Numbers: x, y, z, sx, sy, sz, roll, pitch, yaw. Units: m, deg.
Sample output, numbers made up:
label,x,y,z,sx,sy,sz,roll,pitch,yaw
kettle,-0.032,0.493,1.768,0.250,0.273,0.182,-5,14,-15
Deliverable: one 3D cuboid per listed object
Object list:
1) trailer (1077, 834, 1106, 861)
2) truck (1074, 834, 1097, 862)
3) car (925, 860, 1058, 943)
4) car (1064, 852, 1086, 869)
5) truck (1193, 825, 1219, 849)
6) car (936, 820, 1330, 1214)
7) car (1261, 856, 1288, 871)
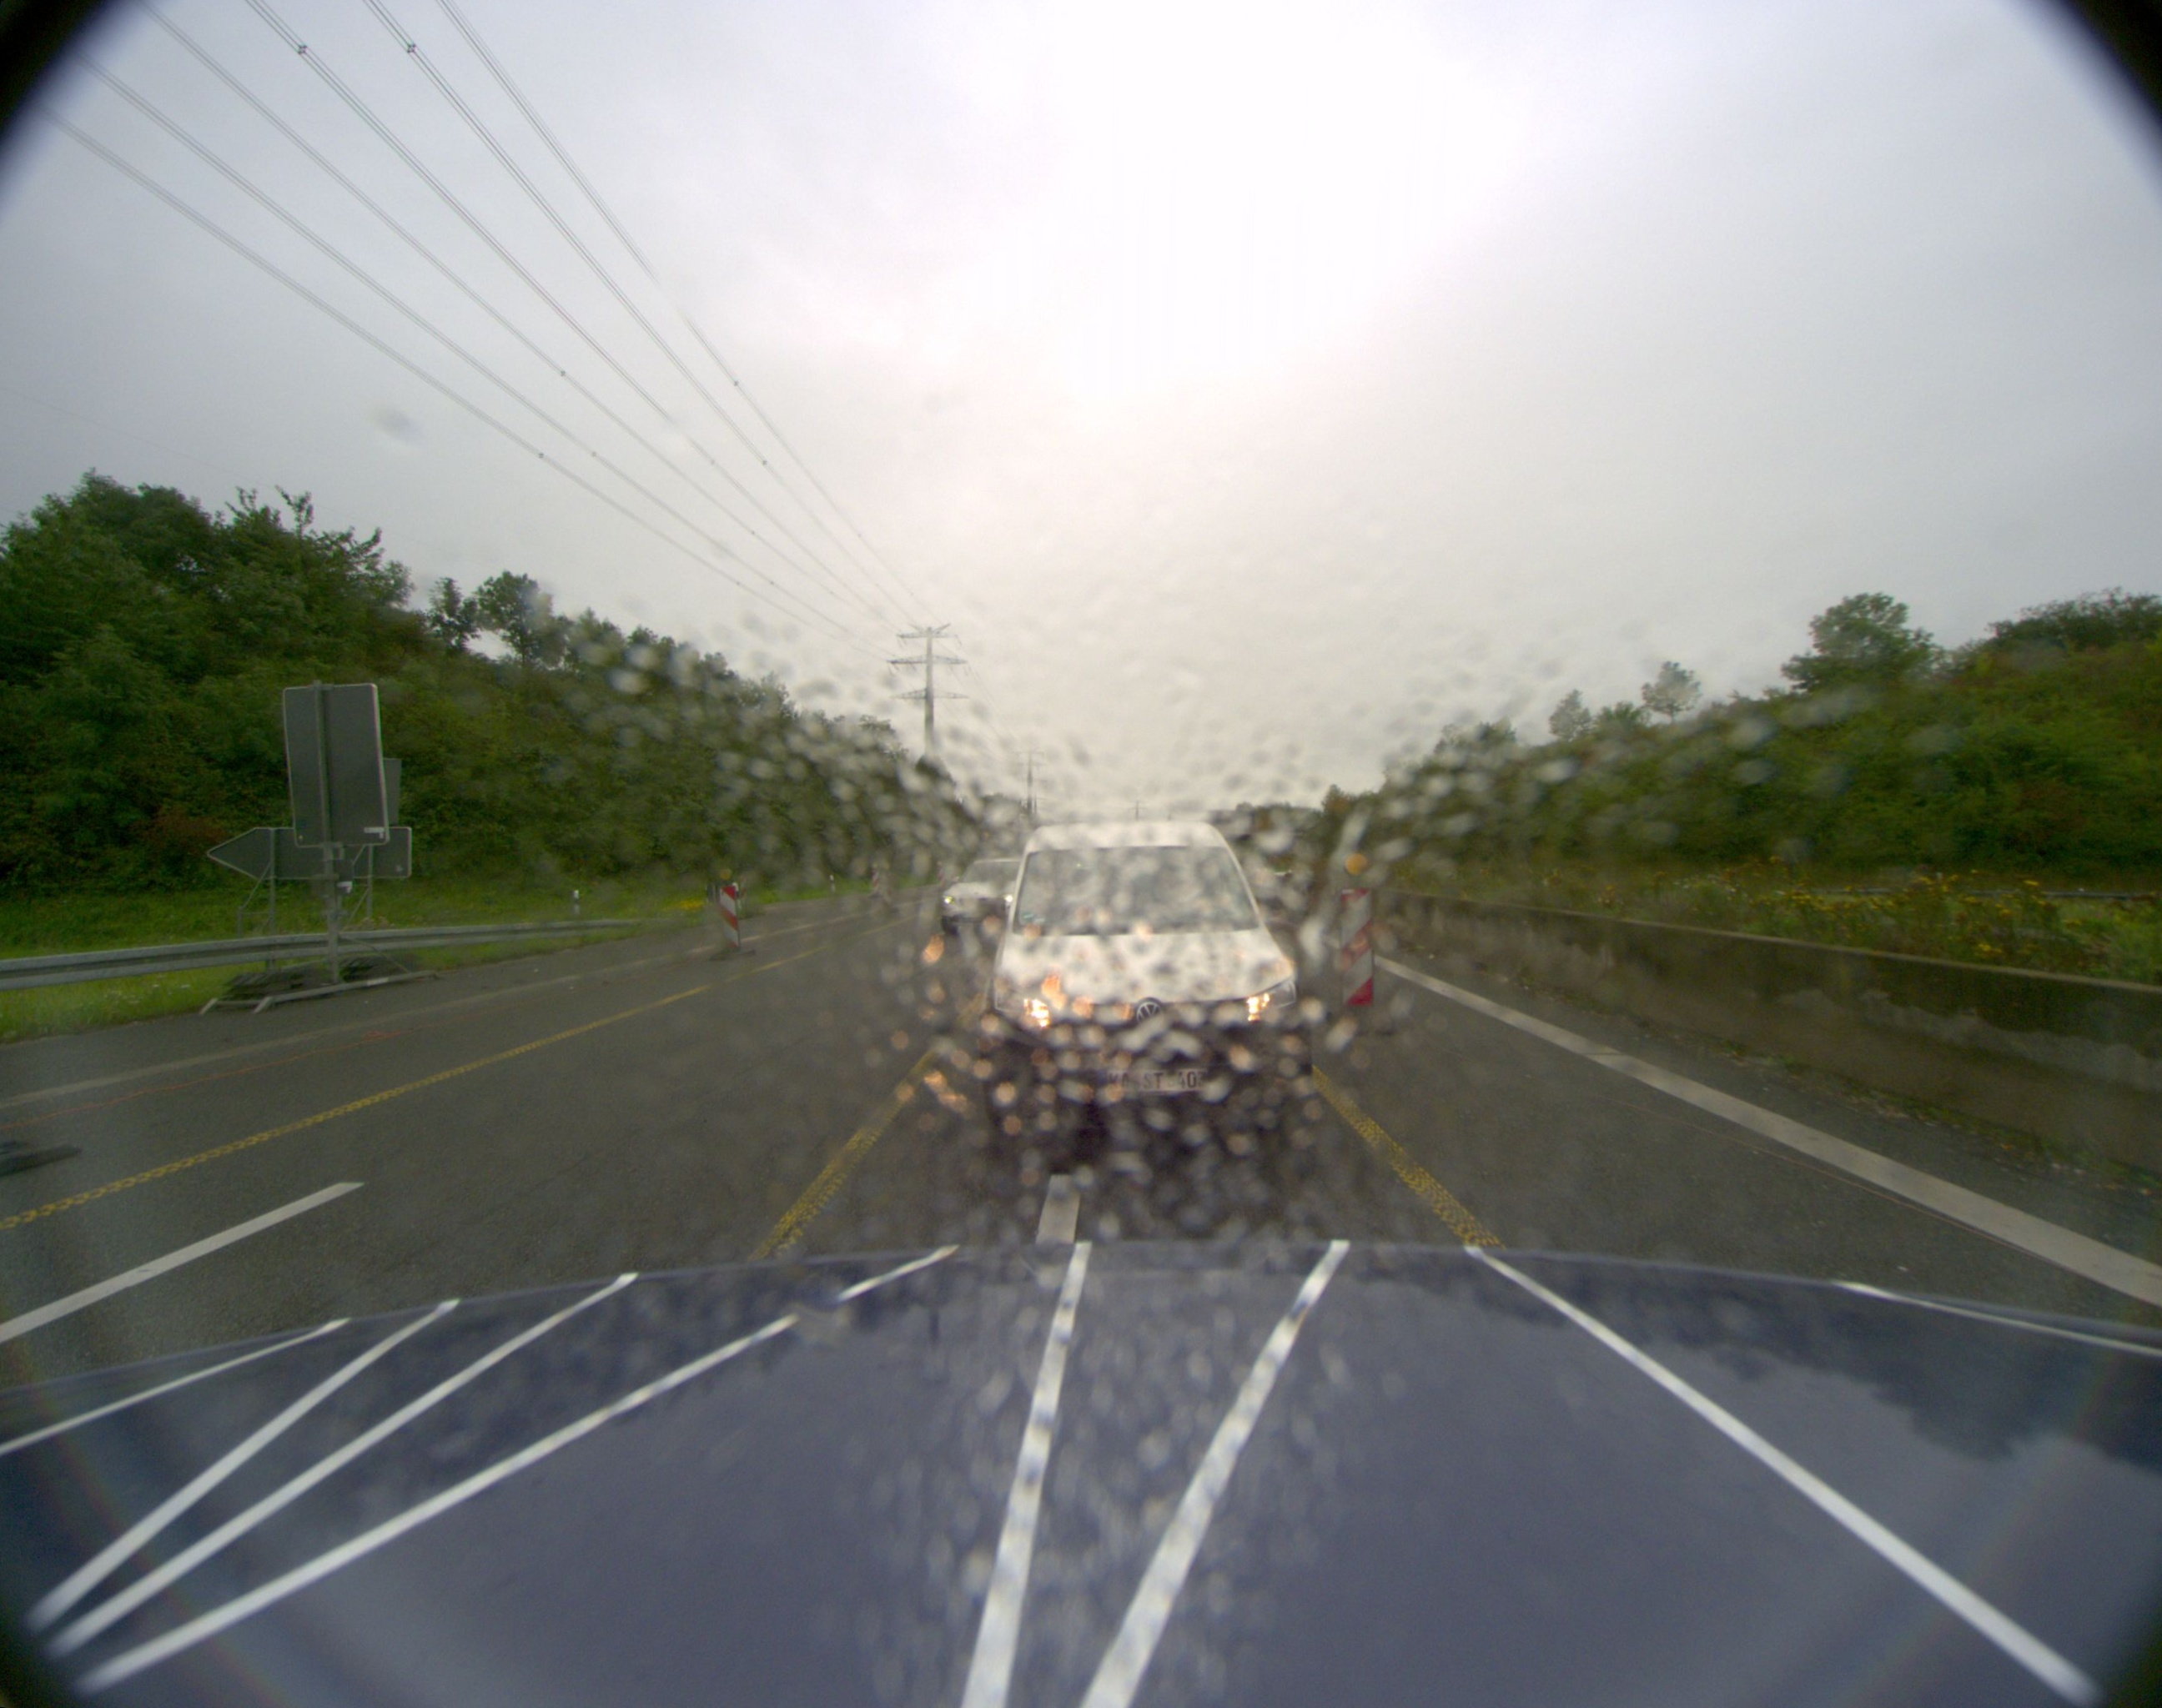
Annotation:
label,x,y,z,sx,sy,sz,roll,pitch,yaw
trailer,1.673,-1.047,117.523,2.524,3.812,12.357,-2,1,9
truck,0.676,-0.889,112.700,2.552,3.924,4.002,-2,1,10
car,-1.811,0.946,16.891,1.873,1.526,4.199,-1,0,8
car,-0.593,0.610,77.490,2.051,1.587,5.801,-2,0,1
truck,25.708,-3.413,156.903,3.414,4.498,17.288,-1,1,3
car,0.267,0.759,5.863,1.770,1.774,4.647,-2,0,1
car,22.149,1.043,87.090,1.998,1.652,4.296,0,0,1
